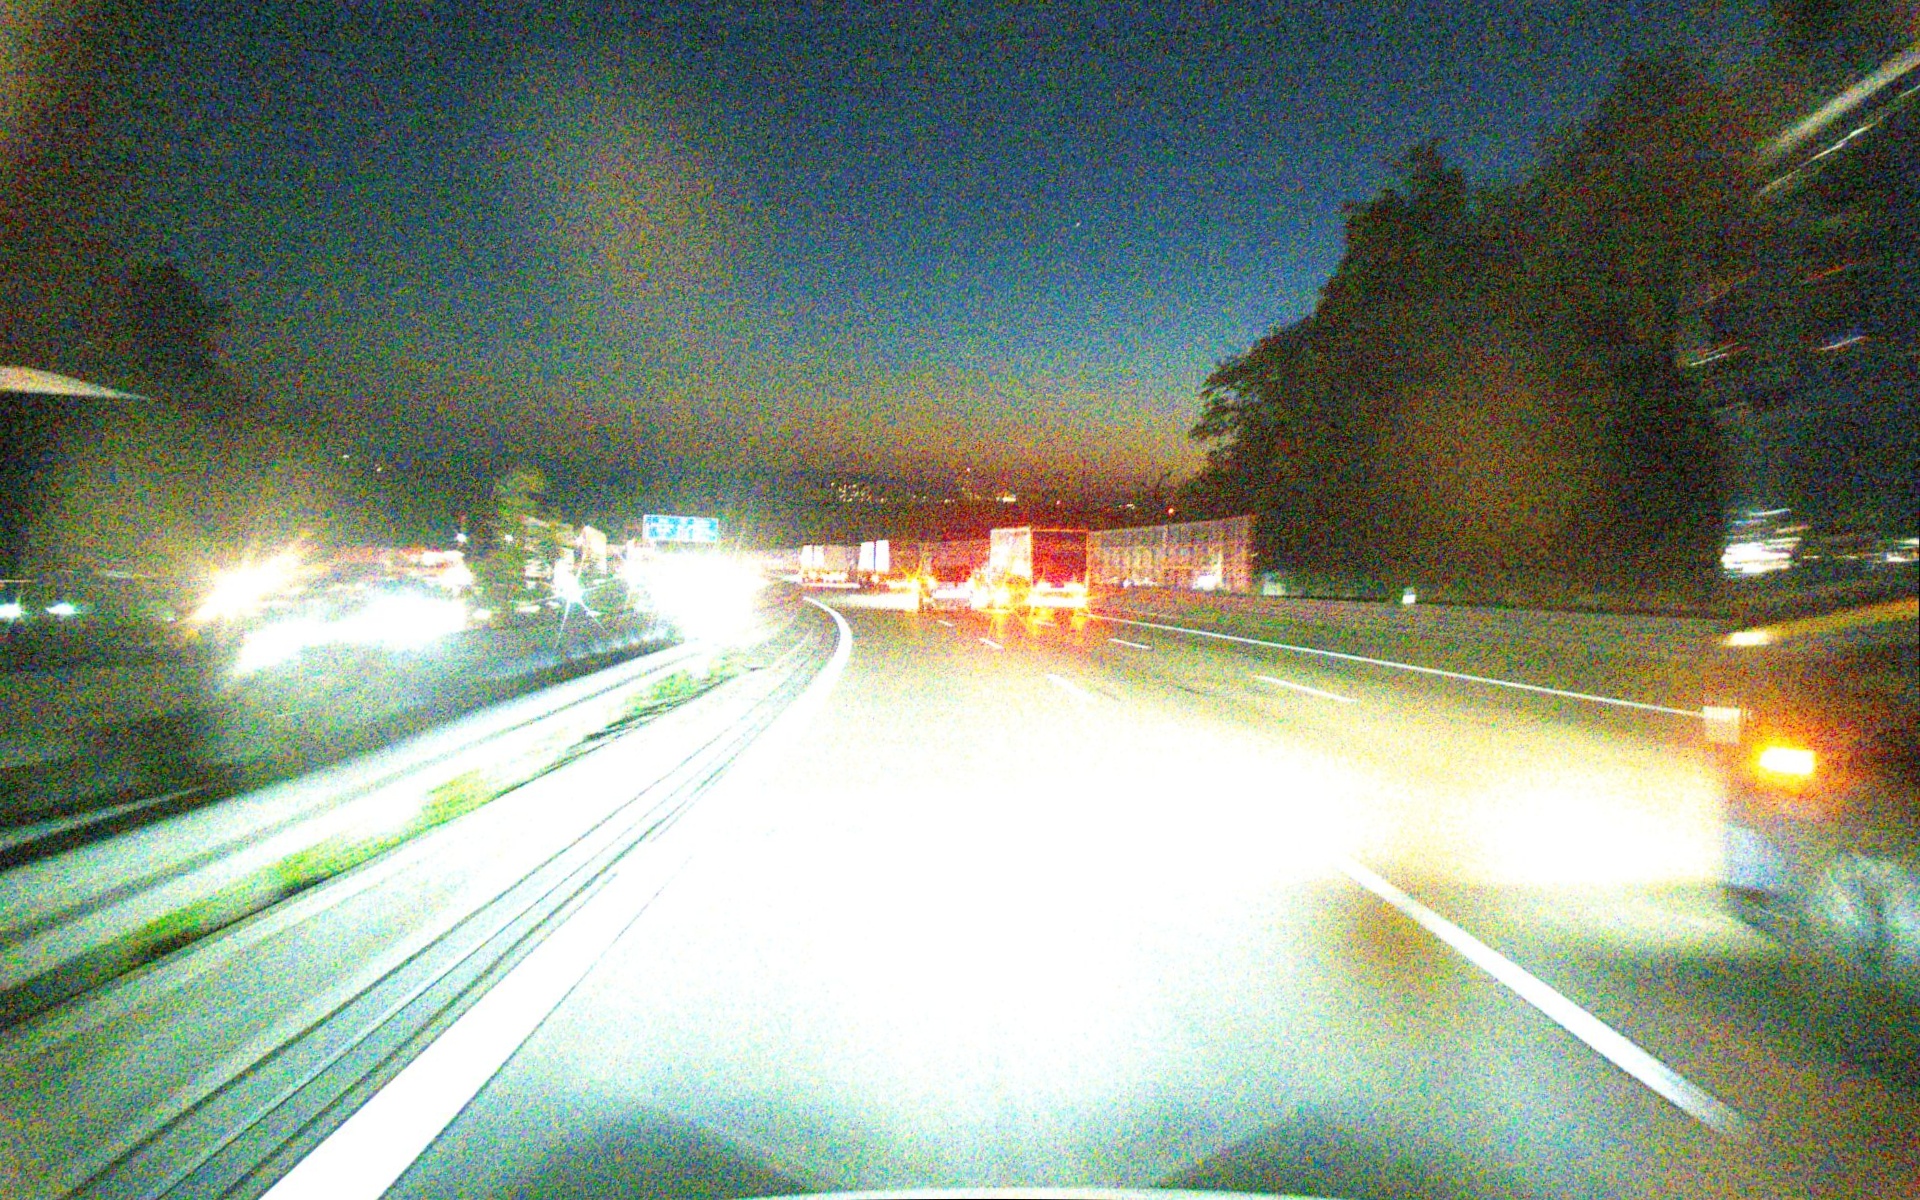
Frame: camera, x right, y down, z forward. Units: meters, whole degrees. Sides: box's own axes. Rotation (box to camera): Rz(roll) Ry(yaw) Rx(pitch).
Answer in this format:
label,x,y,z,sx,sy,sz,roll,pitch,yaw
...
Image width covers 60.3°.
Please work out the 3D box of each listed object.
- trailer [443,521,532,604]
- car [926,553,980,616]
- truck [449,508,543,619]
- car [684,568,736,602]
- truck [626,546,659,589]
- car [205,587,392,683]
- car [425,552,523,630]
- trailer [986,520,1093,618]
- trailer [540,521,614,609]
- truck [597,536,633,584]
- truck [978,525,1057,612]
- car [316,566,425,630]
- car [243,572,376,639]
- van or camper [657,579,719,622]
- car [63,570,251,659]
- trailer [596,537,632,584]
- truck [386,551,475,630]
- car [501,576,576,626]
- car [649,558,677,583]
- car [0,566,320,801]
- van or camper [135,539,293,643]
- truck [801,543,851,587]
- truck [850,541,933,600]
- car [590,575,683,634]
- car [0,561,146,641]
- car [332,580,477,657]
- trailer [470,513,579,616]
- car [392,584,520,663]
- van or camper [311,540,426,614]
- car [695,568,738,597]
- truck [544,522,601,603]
label,x,y,z,sx,sy,sz,roll,pitch,yaw
trailer,-26.233,-2.064,92.428,2.786,4.244,13.262,-2,1,-8
car,-0.346,-0.665,75.466,2.290,2.686,5.246,2,-1,-1
truck,-18.731,-1.448,67.027,2.811,4.284,6.096,0,1,-8
car,-11.420,-0.690,75.892,1.866,1.518,4.865,1,1,-3
truck,-33.756,-3.421,176.063,3.053,4.168,7.058,4,-1,-10
car,-11.067,0.536,27.911,1.664,1.489,3.482,0,1,1
car,-13.002,-0.217,44.468,1.644,1.883,4.107,4,-1,-6
trailer,3.470,-1.446,76.859,2.799,4.138,13.187,0,1,-7
trailer,-22.609,-2.062,98.363,2.789,4.539,14.493,-6,2,-9
truck,-29.331,-3.392,140.517,2.780,3.984,4.918,0,2,-14
truck,2.787,-1.578,82.600,2.807,4.147,7.500,0,1,-7
car,-16.795,-0.096,47.344,1.850,1.706,5.072,0,1,-7
car,-15.834,0.089,40.498,1.861,1.412,4.345,-2,2,-6
van or camper,-9.925,-0.019,60.646,1.704,1.491,4.864,1,1,-3
car,-16.385,0.302,34.046,1.889,1.682,4.731,1,-1,-5
trailer,-30.227,-3.491,144.254,2.772,3.985,8.709,0,2,-14
truck,-17.532,-0.334,54.948,1.956,2.501,5.042,0,1,-8
car,-13.932,0.038,54.903,1.862,1.550,4.341,-2,0,-8
car,-24.409,-2.411,135.862,1.839,1.956,4.862,1,1,-6
car,-7.608,0.625,14.928,1.770,1.771,4.867,0,0,0
van or camper,-20.839,-0.294,46.542,1.955,2.702,6.611,0,1,-5
truck,-14.920,-3.888,183.253,3.287,4.553,13.864,3,1,-13
truck,-6.199,-2.500,143.714,3.846,4.708,20.955,0,1,-12
car,-8.852,0.094,45.652,1.866,1.518,4.864,1,1,-3
car,-20.201,0.039,37.211,1.774,1.682,4.731,1,-1,-5
car,-12.072,0.348,36.269,1.673,1.557,4.855,0,1,-2
trailer,-19.824,-1.655,76.192,2.821,4.256,14.503,0,1,-7
car,-8.833,0.380,29.182,1.390,1.278,3.128,0,1,-2
van or camper,-22.568,-0.900,63.459,2.533,2.638,7.104,0,1,-6
car,-13.135,-0.961,89.521,1.866,1.518,4.864,1,1,-3
truck,-21.629,-2.068,92.441,2.567,4.343,5.946,0,1,-8
